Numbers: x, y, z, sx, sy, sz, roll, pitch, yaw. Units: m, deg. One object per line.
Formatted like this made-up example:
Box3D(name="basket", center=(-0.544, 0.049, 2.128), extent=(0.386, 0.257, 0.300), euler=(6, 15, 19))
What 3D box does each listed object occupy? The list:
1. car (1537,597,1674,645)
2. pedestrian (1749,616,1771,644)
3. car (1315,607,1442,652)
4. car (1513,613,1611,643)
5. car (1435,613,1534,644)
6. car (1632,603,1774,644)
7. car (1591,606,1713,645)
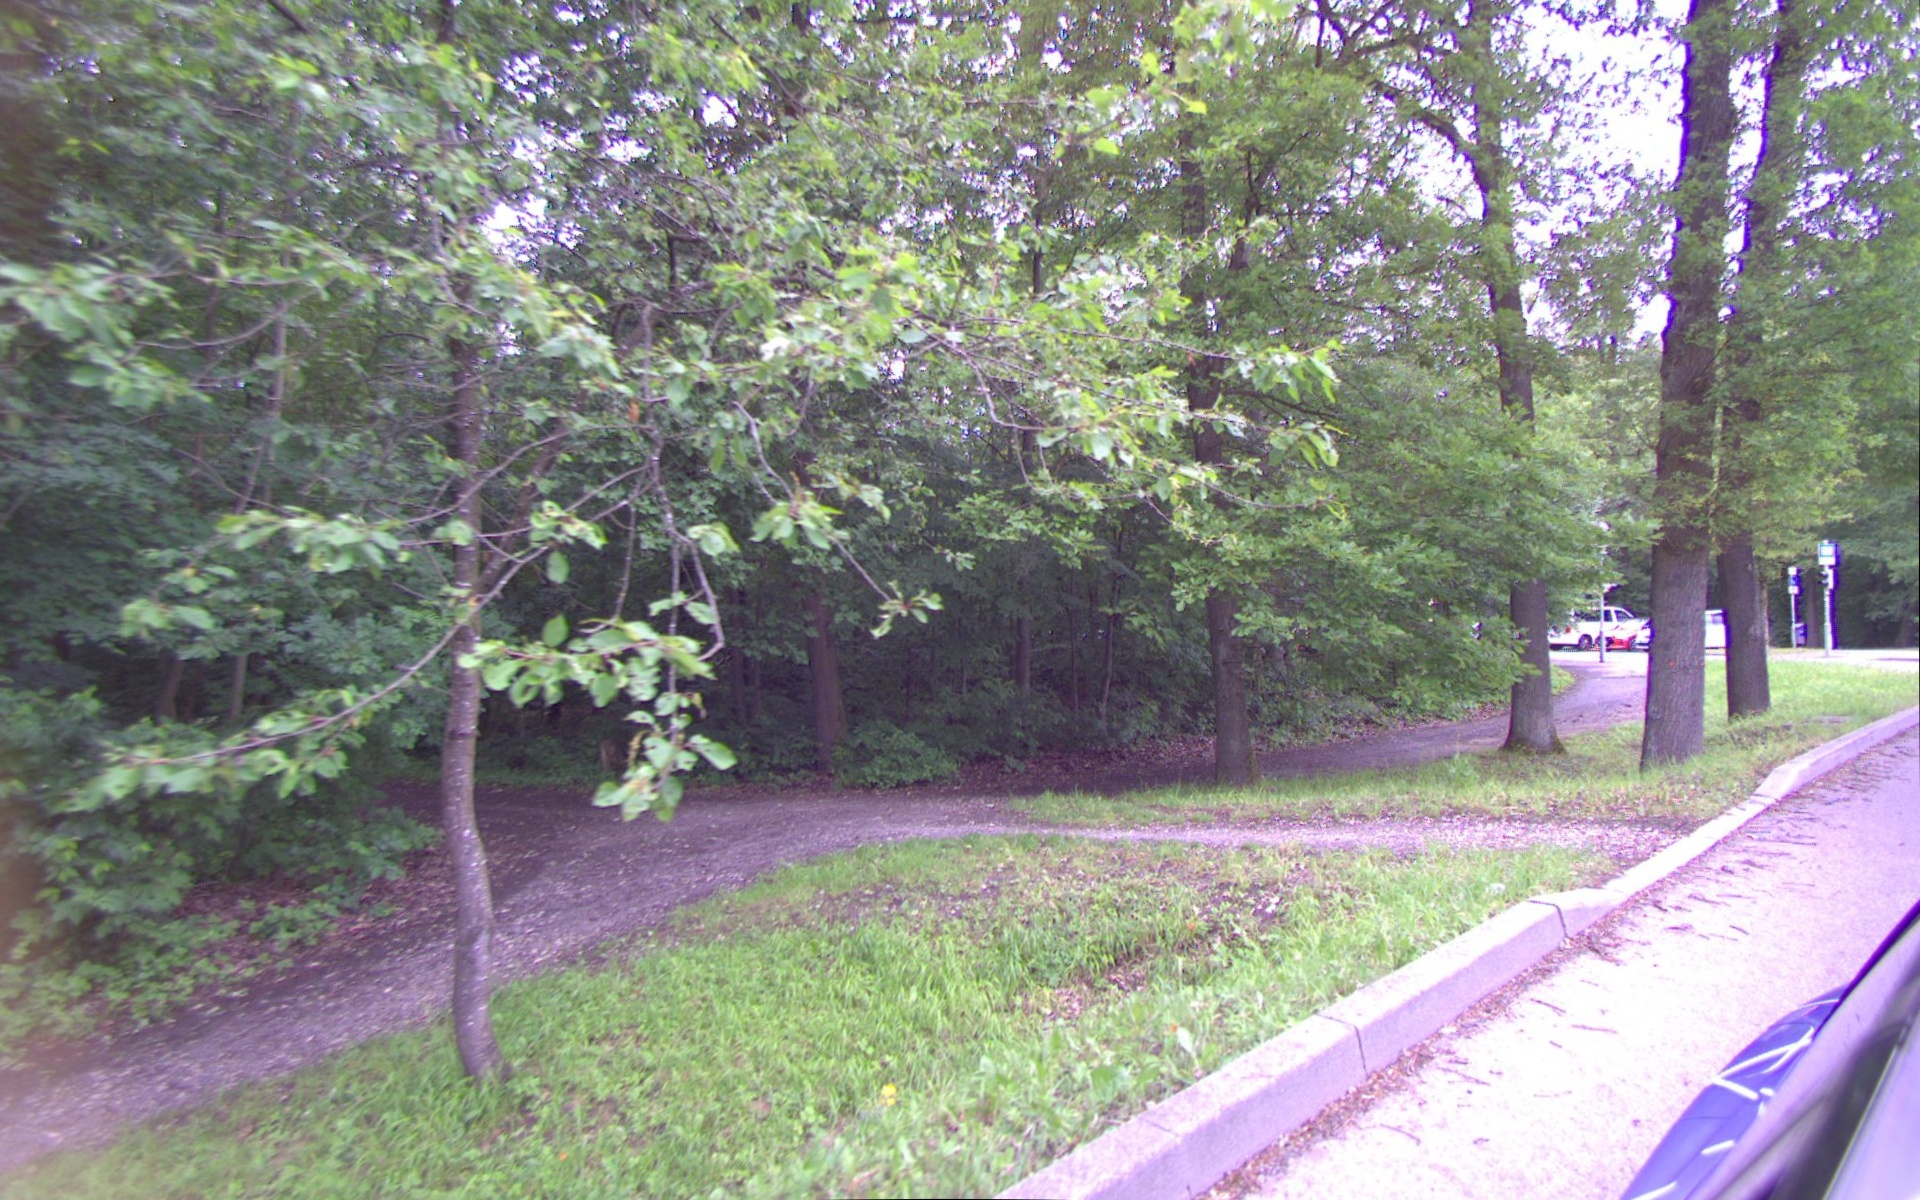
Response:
Box3D(name="car", center=(29.215, 0.958, 45.873), extent=(5.076, 1.983, 2.066), euler=(-2, -2, -11))
Box3D(name="pedestrian", center=(47.593, 1.774, 60.201), extent=(1.019, 1.672, 0.831), euler=(2, -4, -45))
Box3D(name="car", center=(18.480, 1.304, 44.752), extent=(4.847, 1.903, 2.003), euler=(0, -2, -12))
Box3D(name="car", center=(28.830, 1.353, 48.473), extent=(3.853, 1.345, 1.724), euler=(0, -2, -13))
Box3D(name="car", center=(27.444, 1.504, 53.027), extent=(4.437, 1.578, 1.846), euler=(0, -2, -14))
Box3D(name="car", center=(29.888, 0.966, 40.767), extent=(4.331, 1.572, 2.002), euler=(0, -2, -7))
Box3D(name="car", center=(29.498, 1.105, 43.208), extent=(3.919, 1.572, 1.896), euler=(0, -2, -7))
